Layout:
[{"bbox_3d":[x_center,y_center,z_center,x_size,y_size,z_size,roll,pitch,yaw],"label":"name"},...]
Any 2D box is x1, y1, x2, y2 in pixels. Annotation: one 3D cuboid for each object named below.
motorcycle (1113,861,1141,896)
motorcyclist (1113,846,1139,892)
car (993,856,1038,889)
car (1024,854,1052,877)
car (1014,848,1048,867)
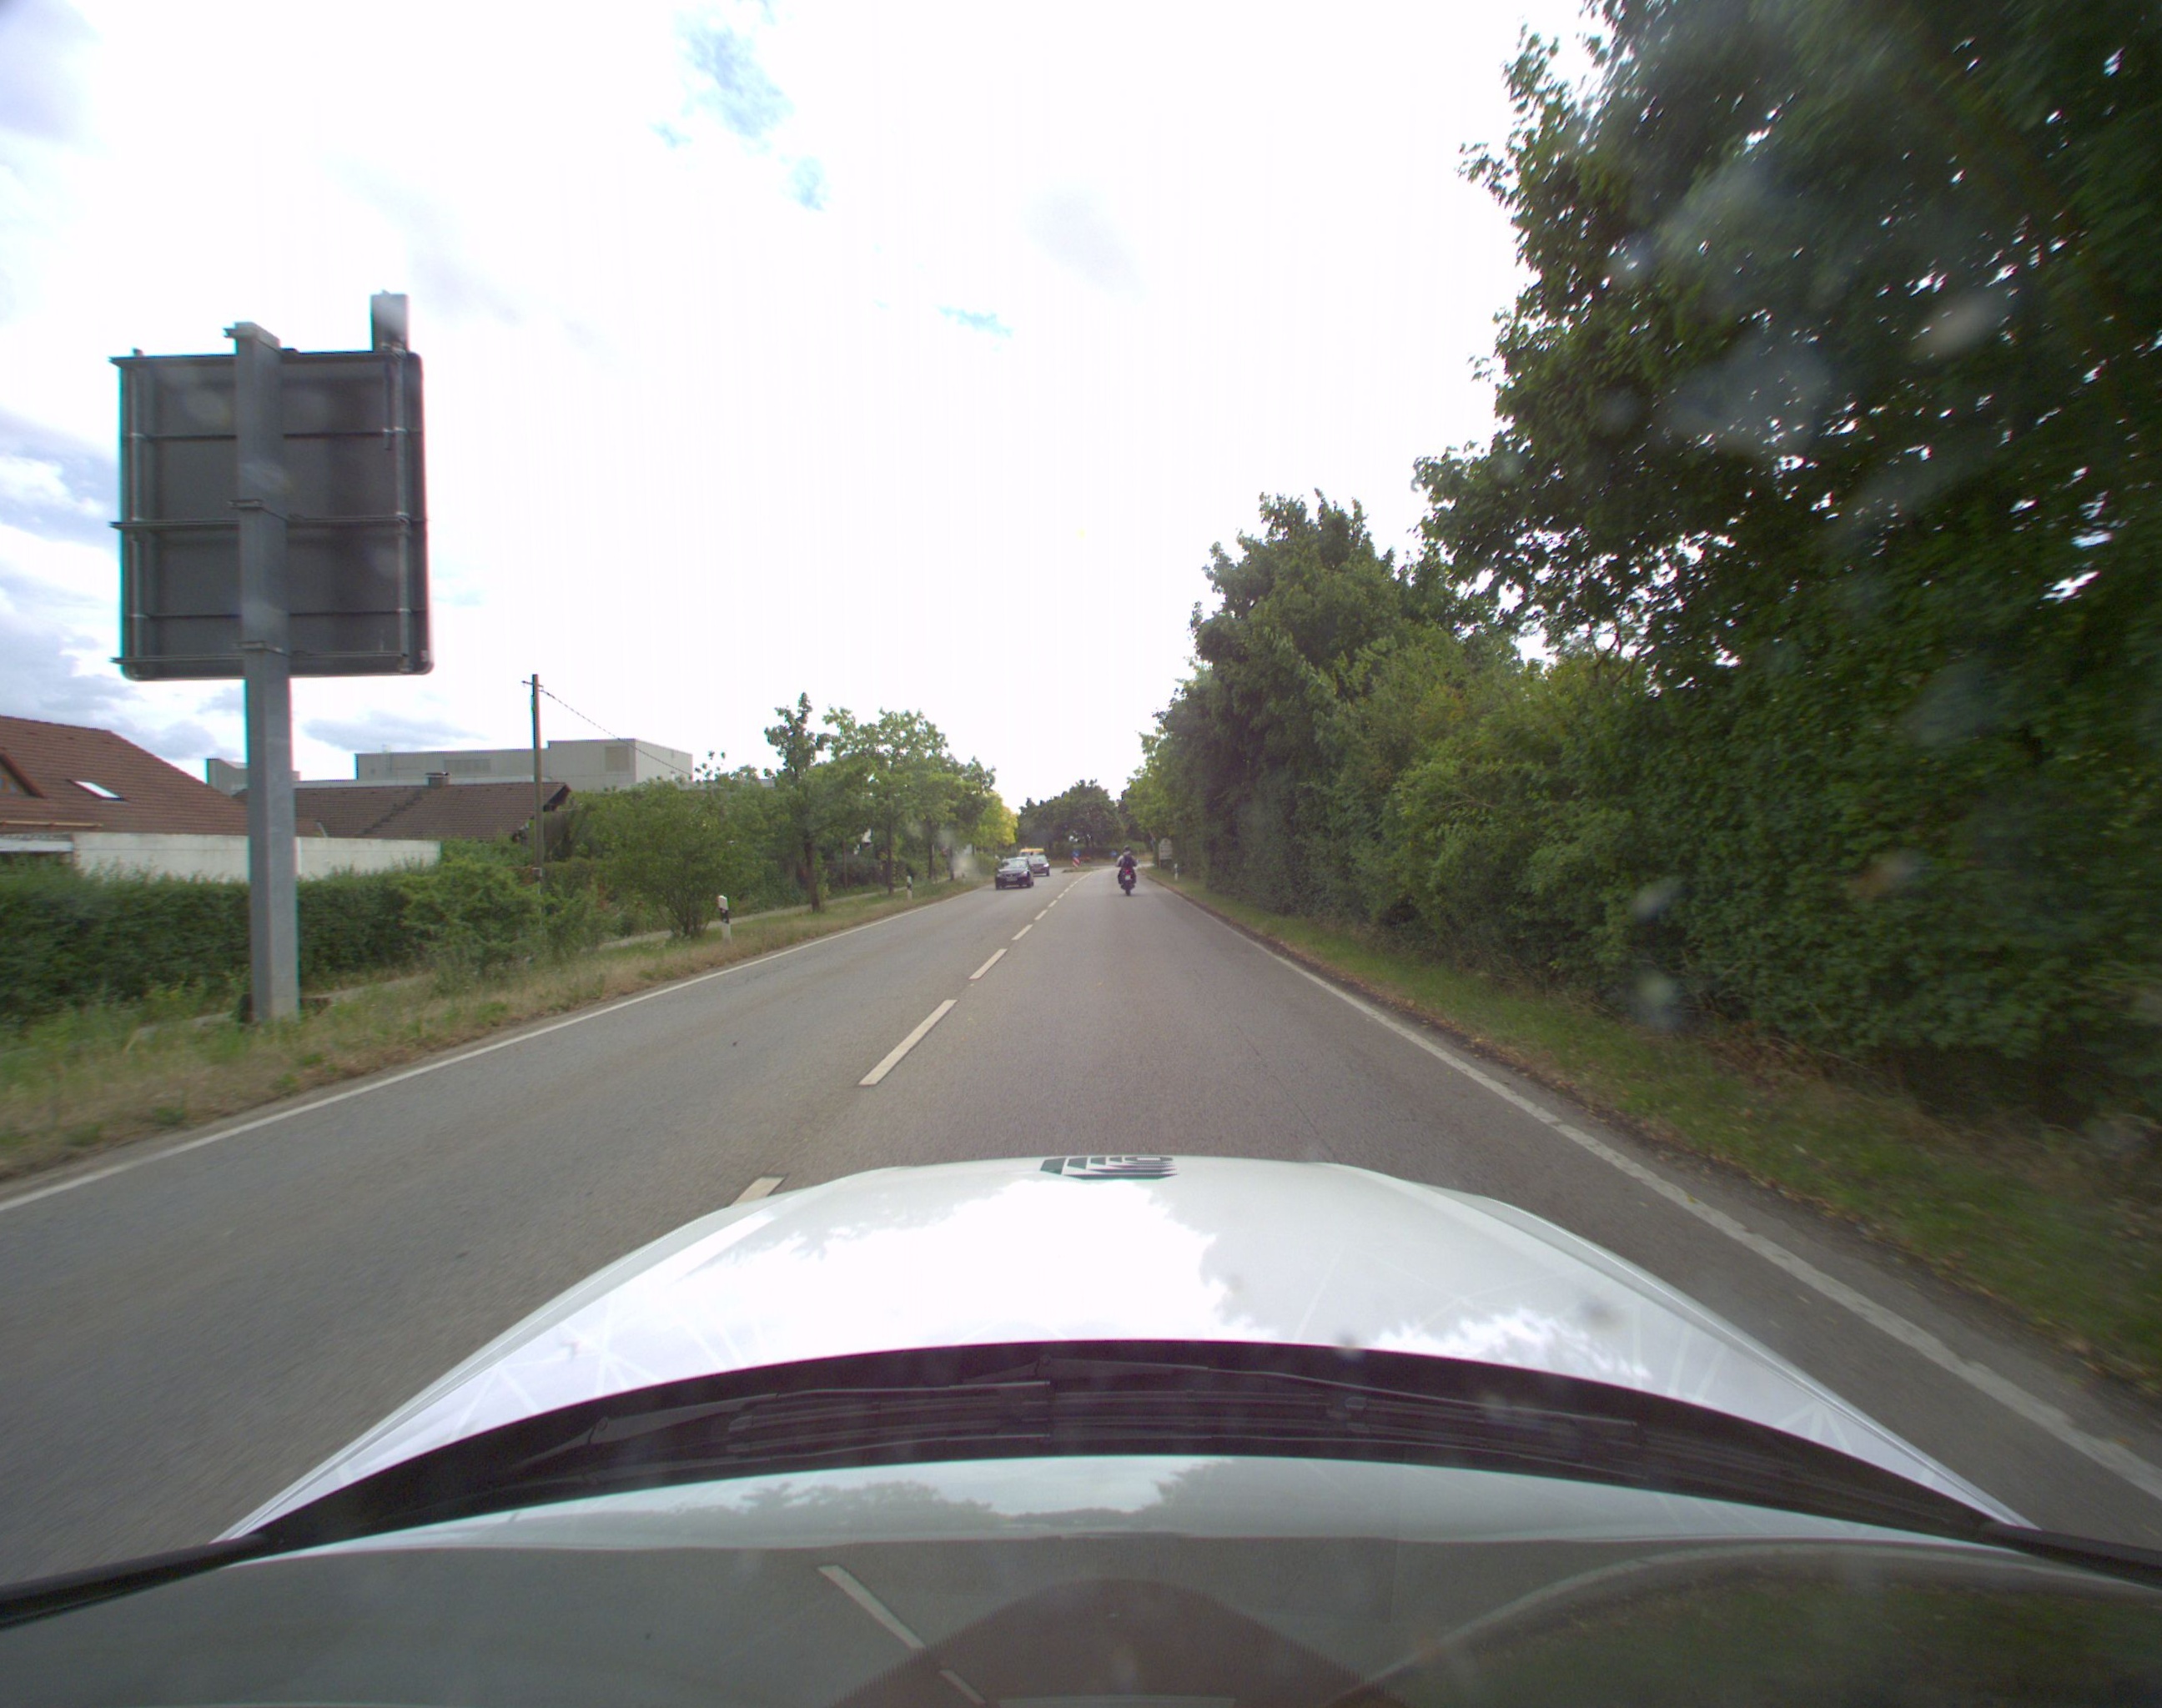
[{"bbox_3d":[1.632,0.858,29.530,0.893,1.158,2.621,-2,0,1],"label":"motorcycle"},{"bbox_3d":[1.623,0.525,29.643,0.858,1.623,1.191,-2,0,1],"label":"motorcyclist"},{"bbox_3d":[-3.115,0.865,39.451,1.670,1.411,4.013,-4,0,1],"label":"car"},{"bbox_3d":[-3.125,0.788,60.094,1.728,1.534,4.094,-4,0,0],"label":"car"},{"bbox_3d":[-6.861,0.460,112.486,2.142,2.452,5.476,-2,0,28],"label":"car"}]
